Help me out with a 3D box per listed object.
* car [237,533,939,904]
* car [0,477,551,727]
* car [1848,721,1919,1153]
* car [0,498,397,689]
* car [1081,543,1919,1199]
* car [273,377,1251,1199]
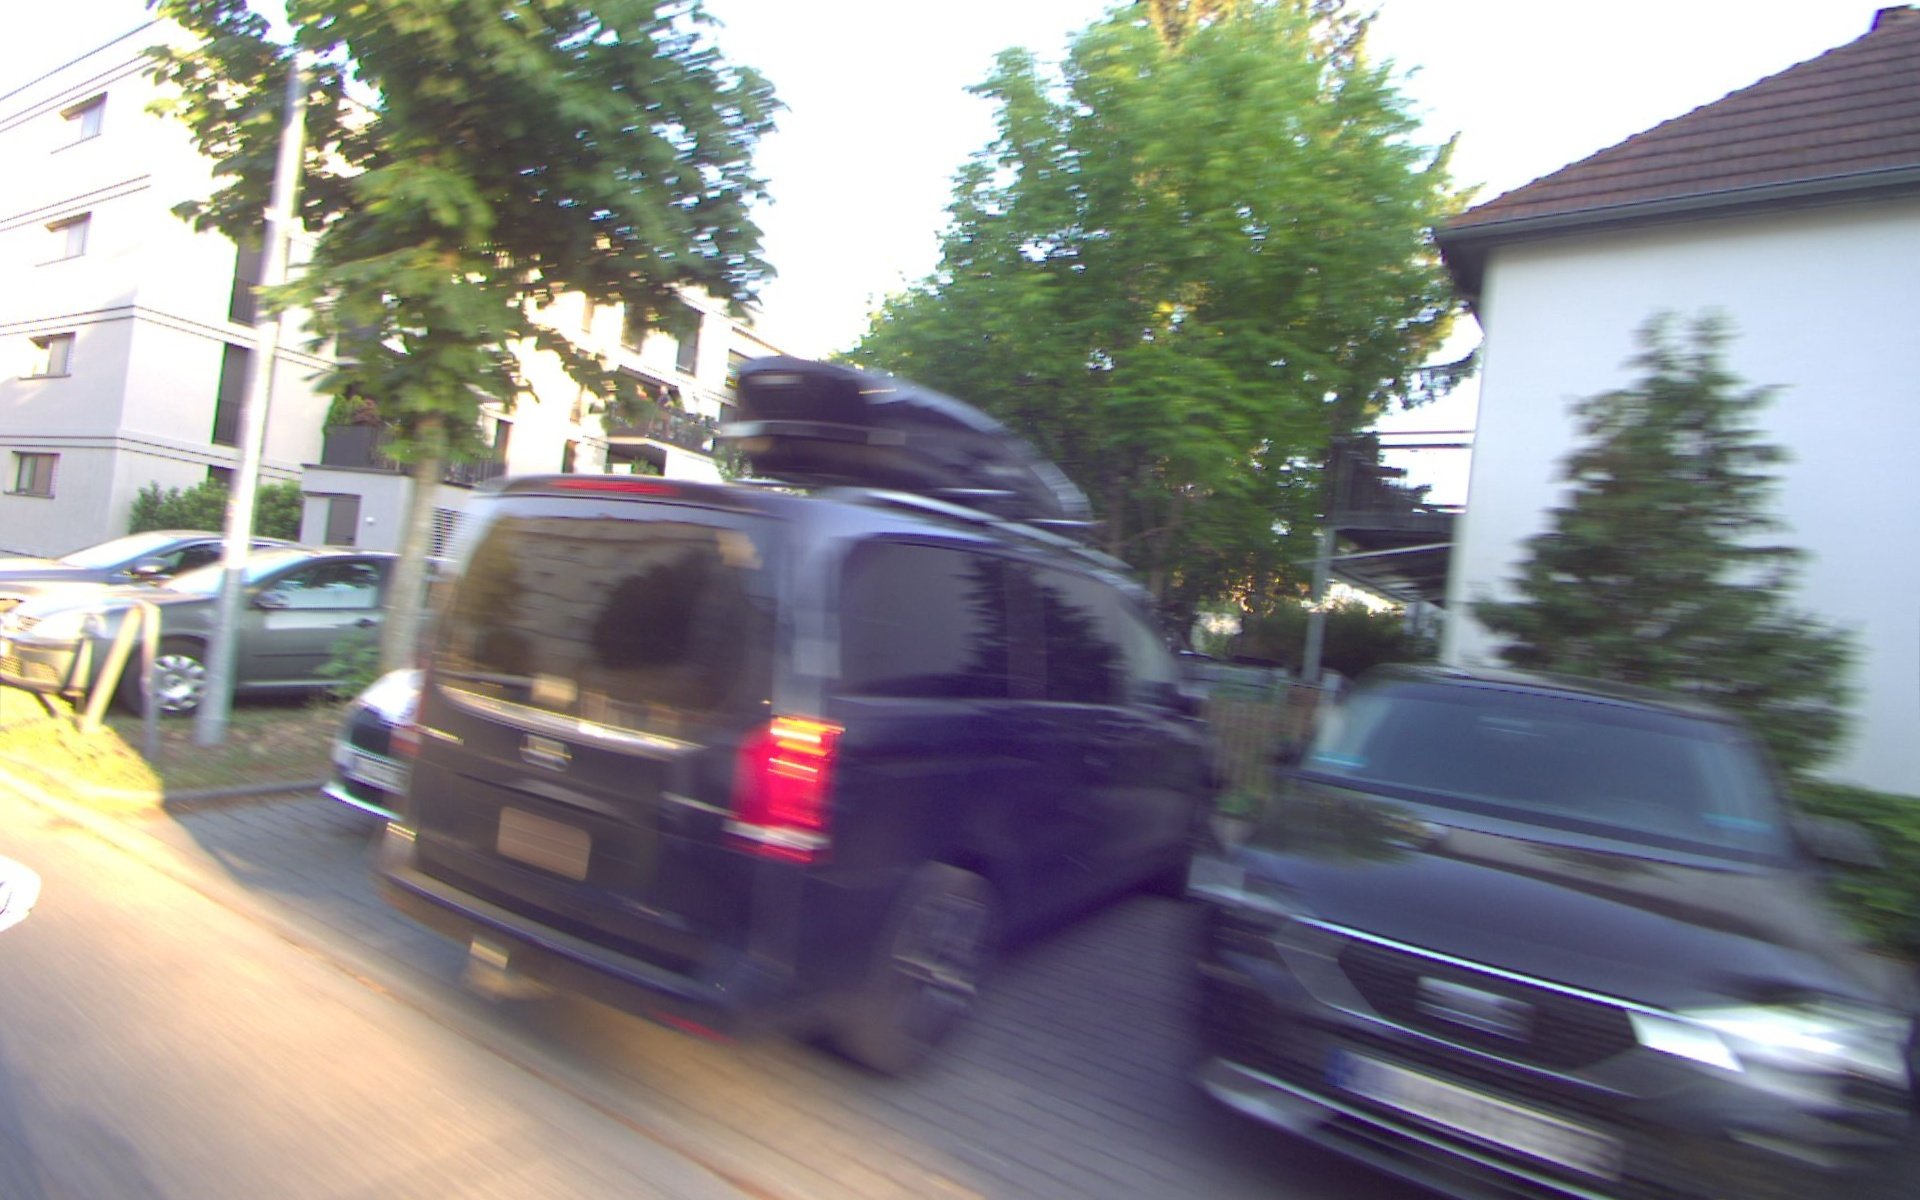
[{"bbox_3d":[-2.022,0.699,6.725,1.965,1.520,4.000,7,-3,27],"label":"car"},{"bbox_3d":[-6.091,0.144,9.139,1.942,1.667,3.952,7,-3,27],"label":"car"},{"bbox_3d":[4.036,1.269,2.421,1.734,1.669,4.000,7,-3,27],"label":"car"},{"bbox_3d":[-8.300,-0.037,10.155,1.766,1.590,4.161,7,-2,27],"label":"car"},{"bbox_3d":[2.261,0.980,3.990,1.966,1.790,3.994,7,-1,30],"label":"car"},{"bbox_3d":[-0.247,0.607,4.954,2.065,2.045,4.569,7,-3,29],"label":"car"}]
